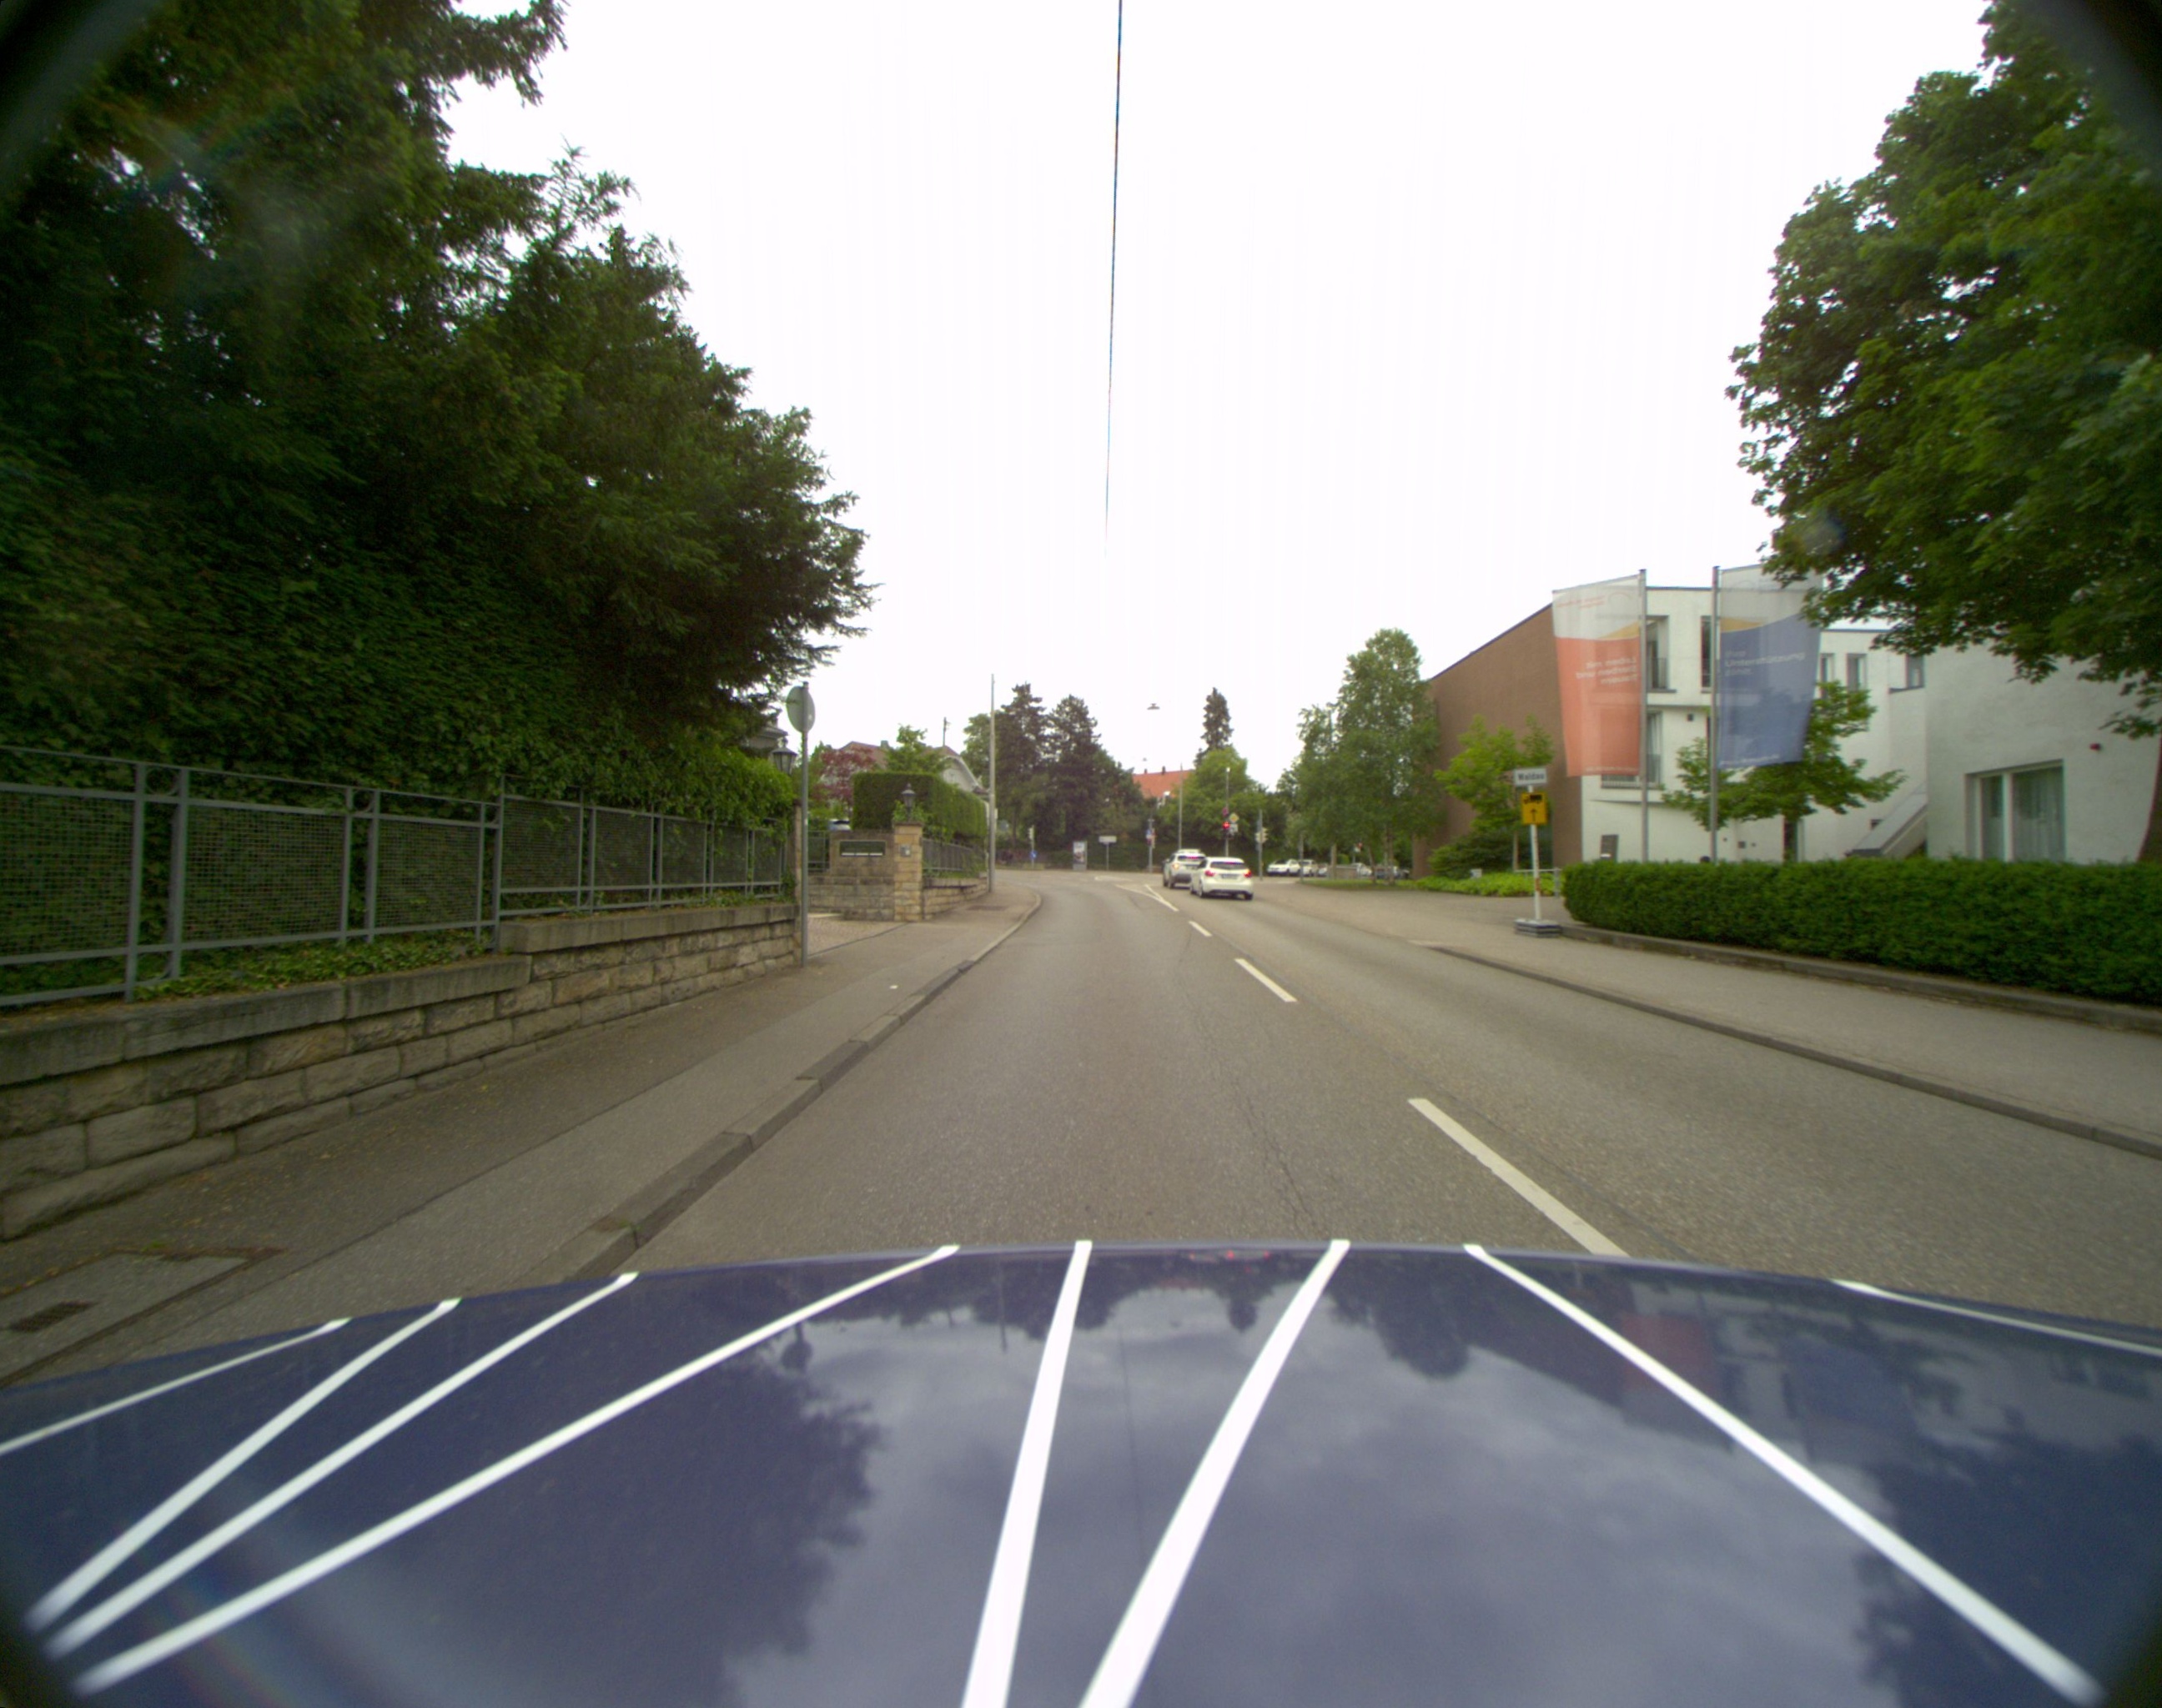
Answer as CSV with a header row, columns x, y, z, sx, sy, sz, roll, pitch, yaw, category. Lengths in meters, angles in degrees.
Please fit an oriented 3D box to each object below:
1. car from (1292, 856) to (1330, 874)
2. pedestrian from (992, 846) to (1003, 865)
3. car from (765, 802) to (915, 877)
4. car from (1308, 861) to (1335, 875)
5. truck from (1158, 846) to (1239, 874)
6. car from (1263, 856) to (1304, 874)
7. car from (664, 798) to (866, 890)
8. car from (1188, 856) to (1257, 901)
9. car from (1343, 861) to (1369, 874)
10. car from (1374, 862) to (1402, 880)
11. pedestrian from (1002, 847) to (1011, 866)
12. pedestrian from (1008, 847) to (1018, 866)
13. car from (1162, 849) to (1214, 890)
x,y,z,sx,sy,sz,roll,pitch,yaw,category
21.908,1.053,72.394,1.994,1.603,4.009,2,0,40,car
-8.030,0.124,73.165,0.686,1.803,0.882,2,1,30,pedestrian
-7.180,-0.424,22.928,3.749,1.603,1.814,9,1,0,car
24.653,1.399,77.683,1.867,1.445,3.738,0,0,30,car
10.218,0.483,65.920,6.706,2.176,2.532,1,1,12,truck
18.177,0.987,68.180,1.994,1.603,4.009,2,0,40,car
-7.723,-0.239,18.900,3.997,1.603,2.000,9,1,0,car
4.979,0.807,27.237,1.770,1.413,4.065,2,1,1,car
32.711,1.580,90.344,1.867,1.577,3.739,1,0,36,car
26.646,1.440,65.825,1.876,1.440,4.008,2,0,27,car
-7.164,0.241,73.065,0.611,1.824,0.605,2,0,28,pedestrian
-6.394,0.236,71.282,0.665,1.777,0.614,2,0,27,pedestrian
4.742,0.639,34.188,1.773,1.628,4.302,3,0,2,car
